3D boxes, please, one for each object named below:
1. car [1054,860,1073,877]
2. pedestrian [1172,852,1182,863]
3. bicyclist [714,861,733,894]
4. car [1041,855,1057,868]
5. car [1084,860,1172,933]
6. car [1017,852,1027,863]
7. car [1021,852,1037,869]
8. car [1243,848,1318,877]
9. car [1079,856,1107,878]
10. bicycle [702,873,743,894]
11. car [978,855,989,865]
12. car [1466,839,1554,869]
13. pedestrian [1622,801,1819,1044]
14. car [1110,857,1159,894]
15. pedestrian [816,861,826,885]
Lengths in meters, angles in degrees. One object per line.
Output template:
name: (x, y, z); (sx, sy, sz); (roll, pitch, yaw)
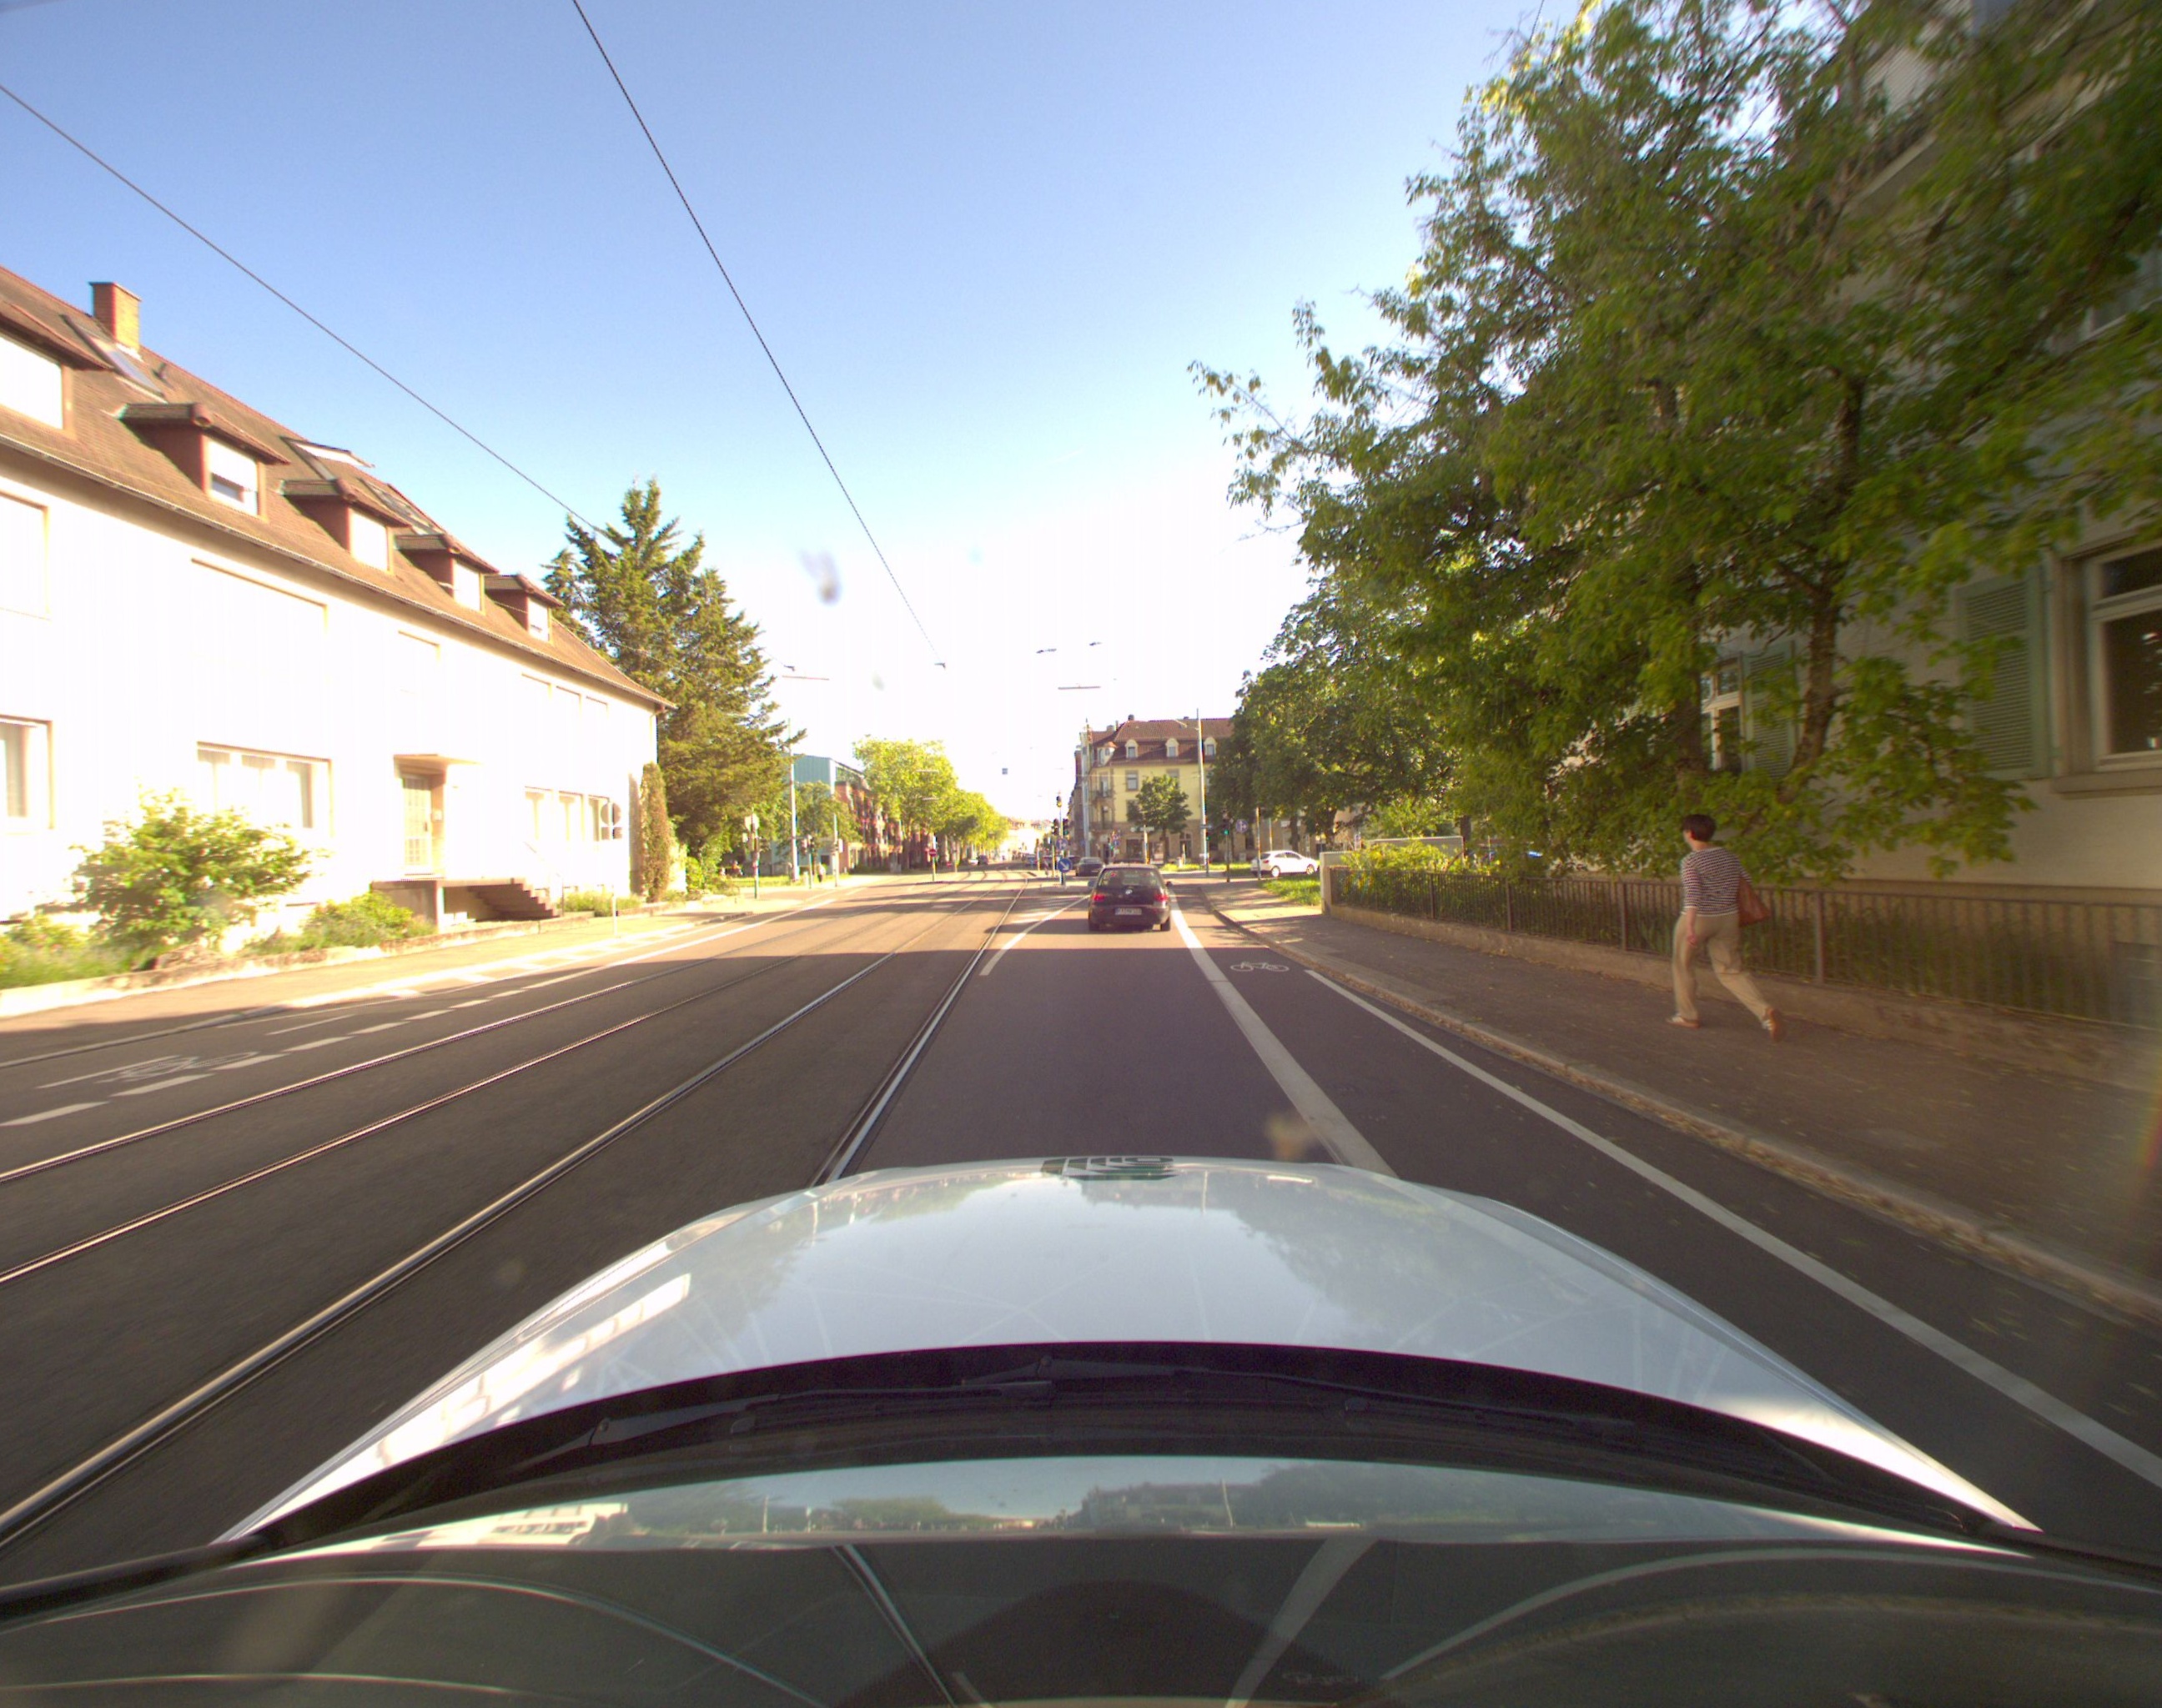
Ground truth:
car: (-1.637, 1.358, 75.472); (1.567, 1.311, 3.494); (-2, 2, -5)
pedestrian: (10.625, 0.369, 90.215); (0.977, 1.187, 0.742); (-2, 0, -4)
bicyclist: (-18.977, 1.233, 43.212); (0.676, 1.685, 0.538); (-2, 0, 5)
car: (-3.876, 0.903, 97.835); (1.678, 1.453, 3.374); (-2, 0, -4)
car: (1.143, 0.853, 17.967); (1.707, 1.402, 4.013); (-1, 0, 6)
car: (-10.738, 0.657, 148.723); (1.784, 1.859, 3.994); (-2, 0, -4)
car: (-5.842, 0.723, 91.346); (1.784, 1.860, 3.994); (-1, 0, -4)
car: (11.055, 0.454, 45.048); (3.819, 1.441, 1.729); (-2, 0, -28)
car: (0.837, 0.909, 58.214); (1.567, 1.311, 3.641); (-2, 2, -5)
bicycle: (-19.029, 1.574, 43.212); (1.936, 1.015, 0.538); (-2, 0, 4)
car: (-18.690, 1.176, 156.728); (1.970, 1.815, 4.286); (-2, 0, -7)
car: (23.431, 0.000, 44.533); (3.987, 1.449, 1.784); (-2, 0, -10)
pedestrian: (4.839, 0.484, 6.228); (0.716, 1.688, 0.869); (-3, 0, -4)
car: (2.163, 0.836, 33.831); (1.630, 1.372, 3.754); (-2, 0, -2)
pedestrian: (-18.760, 1.346, 58.701); (0.611, 1.689, 0.728); (1, 0, -21)
